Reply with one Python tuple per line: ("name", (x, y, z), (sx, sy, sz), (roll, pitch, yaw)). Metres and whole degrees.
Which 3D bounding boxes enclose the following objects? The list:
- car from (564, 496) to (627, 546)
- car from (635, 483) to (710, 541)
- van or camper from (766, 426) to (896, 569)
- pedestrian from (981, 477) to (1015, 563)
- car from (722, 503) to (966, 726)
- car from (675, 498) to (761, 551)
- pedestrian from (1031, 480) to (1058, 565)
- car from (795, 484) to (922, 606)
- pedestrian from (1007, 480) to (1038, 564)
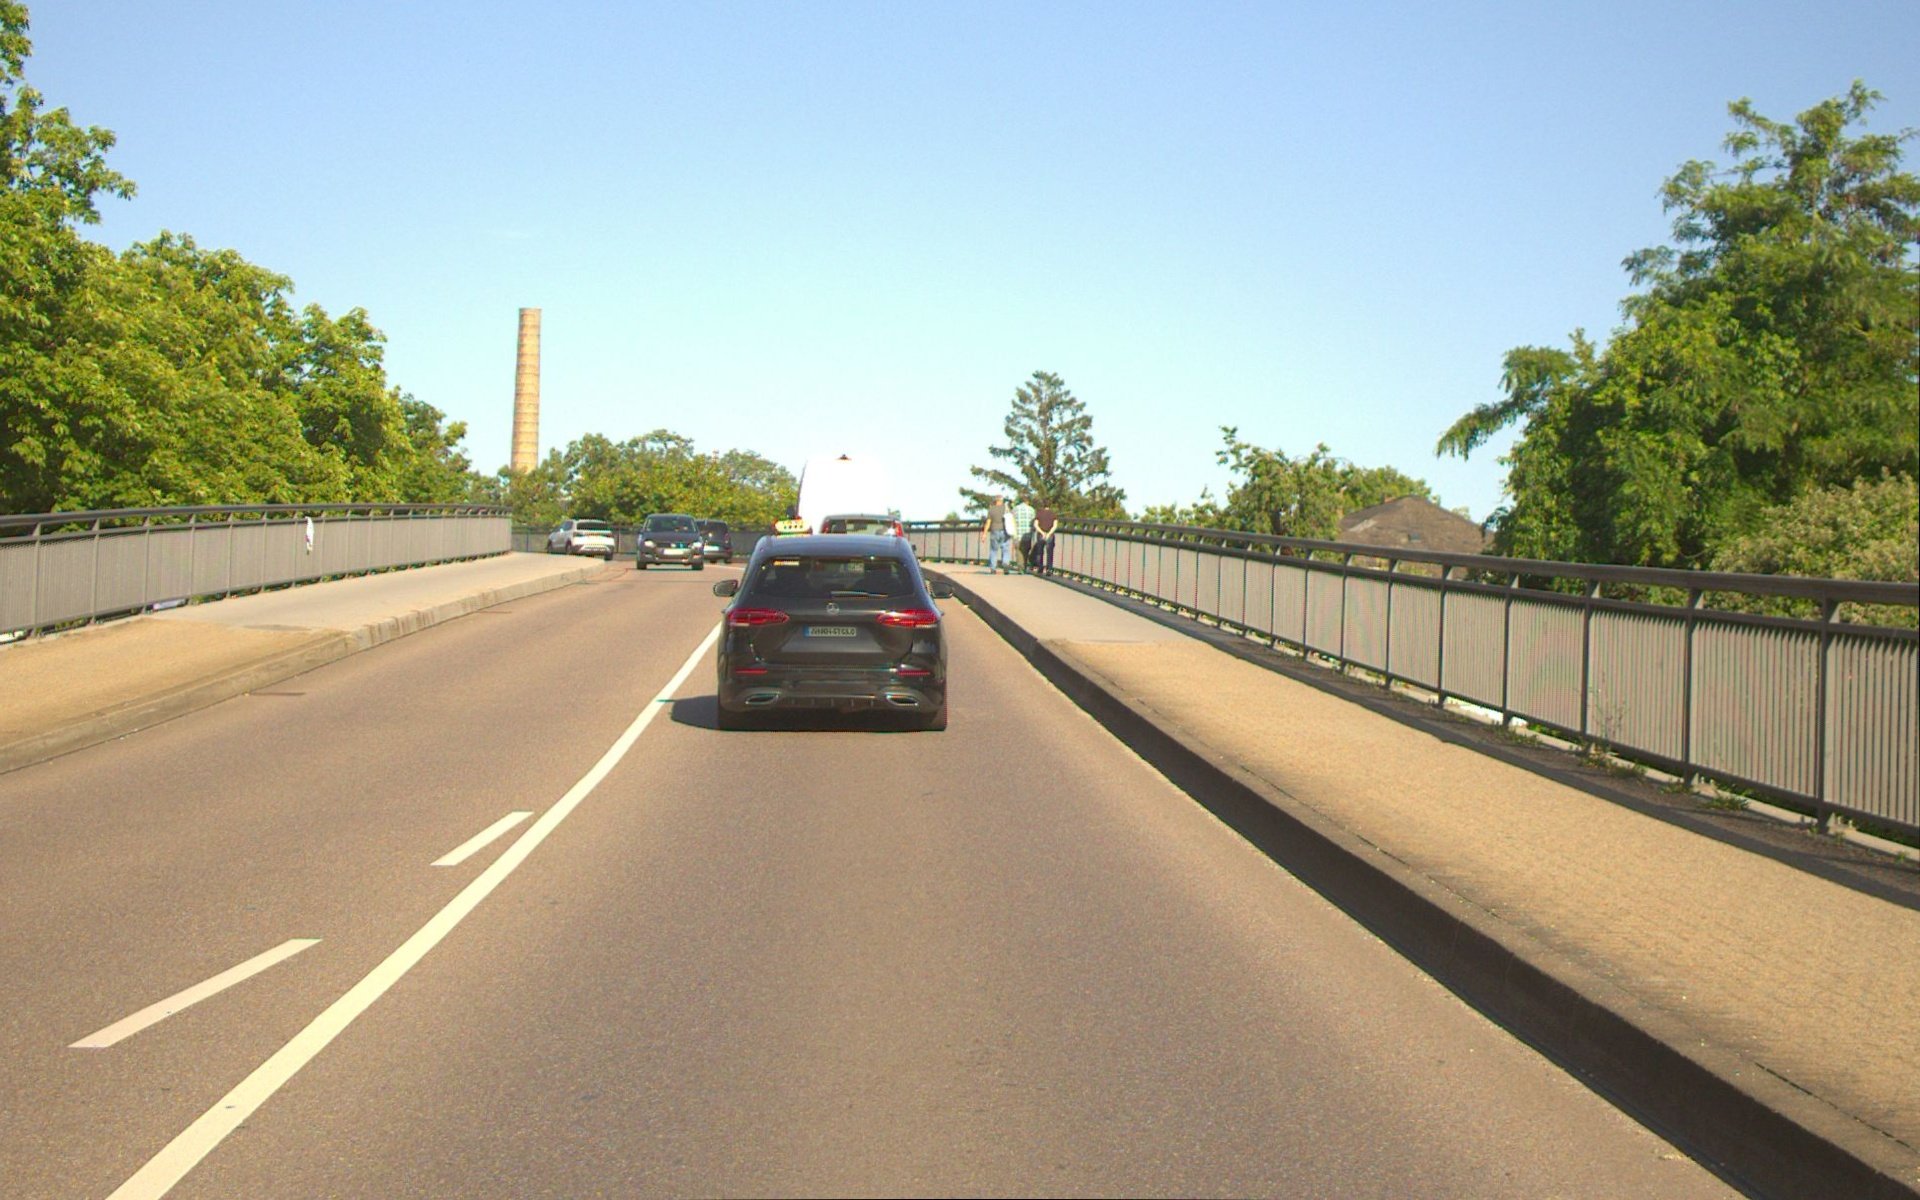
("car", (-14.025, -3.015, 132.436), (1.993, 1.674, 3.999), (1, -2, 0))
("car", (-7.460, -2.288, 89.438), (1.769, 1.469, 3.990), (0, 1, -2))
("van or camper", (-2.873, -2.158, 74.778), (2.226, 2.730, 7.081), (3, -1, -6))
("pedestrian", (0.789, -1.668, 71.947), (0.602, 1.744, 0.717), (2, -1, -2))
("car", (-0.999, 0.055, 27.892), (1.769, 1.587, 3.990), (2, 2, -4))
("car", (-8.119, -2.526, 115.671), (1.919, 1.483, 4.268), (1, -2, 9))
("pedestrian", (1.764, -1.611, 71.769), (0.471, 1.744, 0.654), (2, -1, -2))
("car", (-1.559, -0.827, 53.893), (1.804, 1.634, 3.999), (2, -2, 0))
("pedestrian", (1.313, -1.645, 72.750), (0.549, 1.744, 0.738), (2, -1, -2))
